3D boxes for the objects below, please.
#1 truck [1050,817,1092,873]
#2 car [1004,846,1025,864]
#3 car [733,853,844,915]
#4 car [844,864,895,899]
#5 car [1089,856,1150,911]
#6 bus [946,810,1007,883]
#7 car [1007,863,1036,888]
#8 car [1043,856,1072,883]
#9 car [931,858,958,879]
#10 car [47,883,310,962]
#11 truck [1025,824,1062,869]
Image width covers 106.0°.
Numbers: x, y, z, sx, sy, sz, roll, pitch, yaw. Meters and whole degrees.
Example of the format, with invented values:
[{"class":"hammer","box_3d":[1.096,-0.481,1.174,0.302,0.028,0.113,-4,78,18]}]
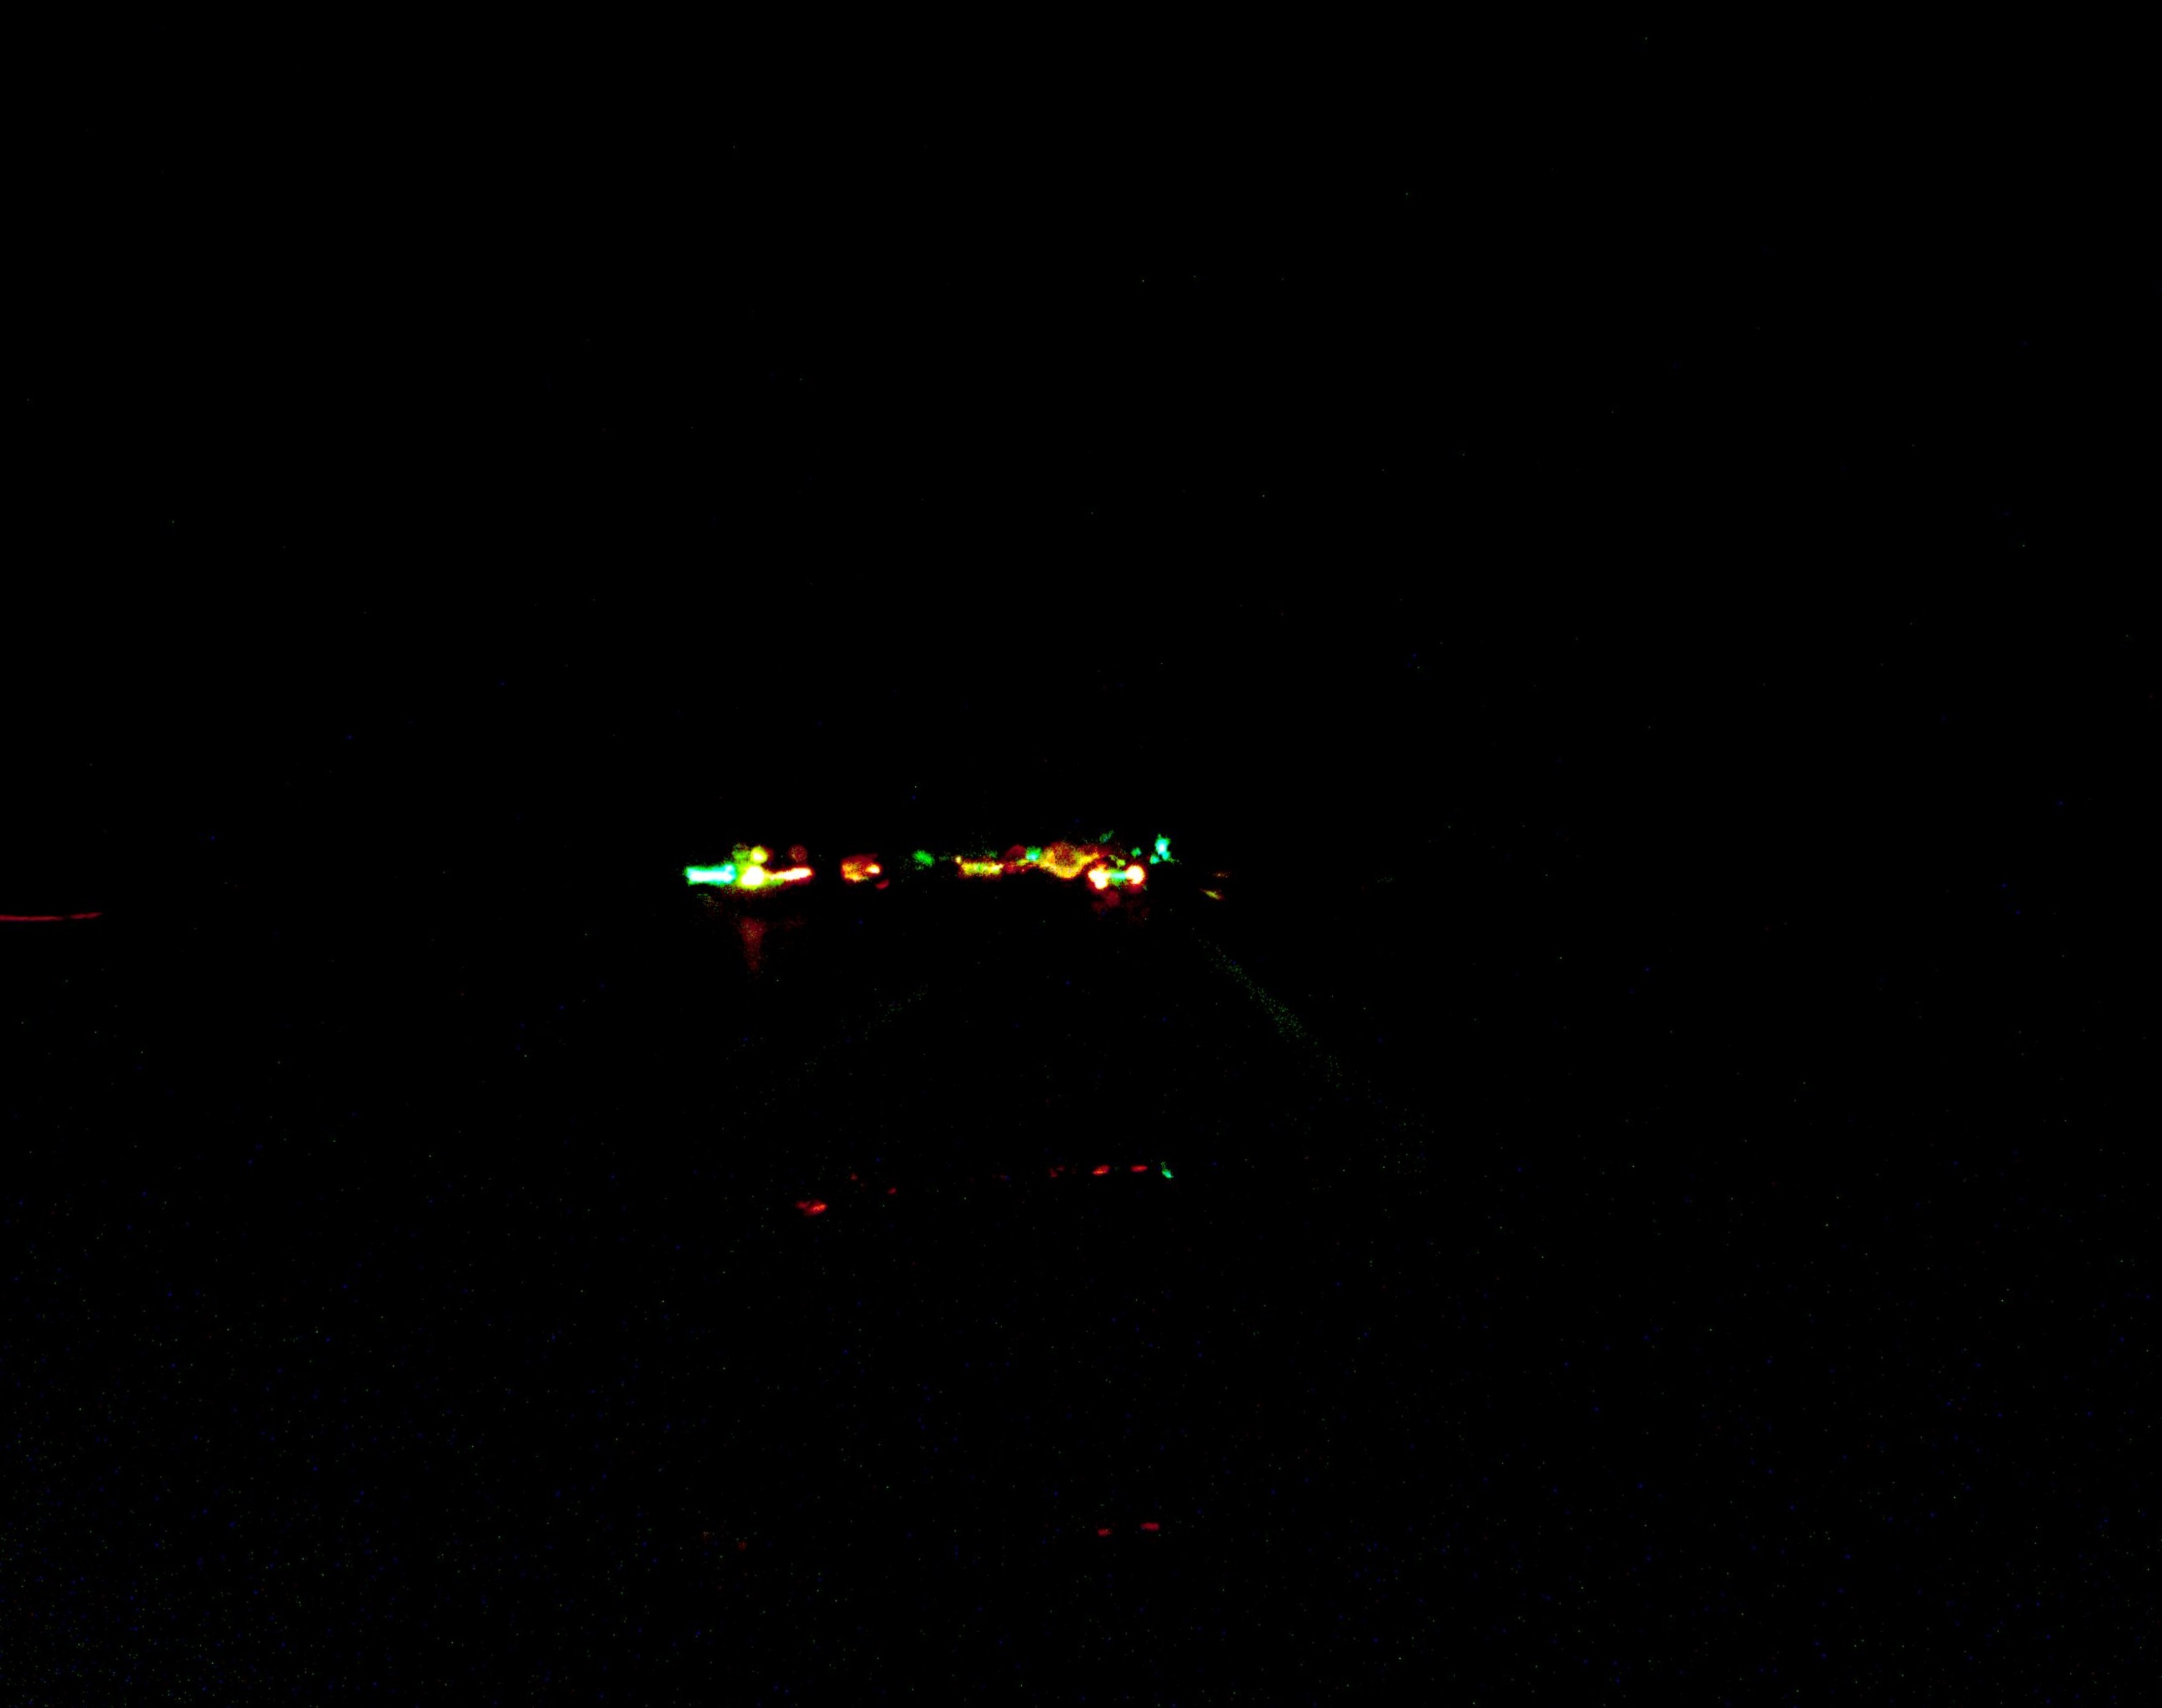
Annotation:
[{"class":"truck","box_3d":[-0.947,-0.882,88.524,4.196,5.648,11.468,0,-1,1]},{"class":"car","box_3d":[-6.914,0.094,84.982,1.988,1.807,3.997,0,-1,-2]},{"class":"car","box_3d":[-8.201,0.799,23.215,1.990,1.596,3.993,0,-1,-5]},{"class":"car","box_3d":[-10.679,1.365,41.350,1.690,1.650,3.836,0,-1,-3]},{"class":"car","box_3d":[1.304,0.984,28.671,1.986,1.807,4.001,0,-1,1]},{"class":"bus","box_3d":[-6.999,-0.414,55.896,3.089,4.508,10.904,0,-1,-2]},{"class":"car","box_3d":[-4.431,1.577,61.306,1.988,1.807,3.997,0,-1,-2]},{"class":"car","box_3d":[-1.783,1.177,63.242,2.120,2.014,4.643,0,-1,-1]},{"class":"car","box_3d":[-11.839,1.221,70.622,1.990,1.794,3.993,0,-1,-5]},{"class":"car","box_3d":[-23.607,1.709,21.641,1.873,1.721,4.563,0,-1,0]},{"class":"truck","box_3d":[-4.843,-0.854,107.516,4.196,5.648,11.468,0,-1,1]}]
